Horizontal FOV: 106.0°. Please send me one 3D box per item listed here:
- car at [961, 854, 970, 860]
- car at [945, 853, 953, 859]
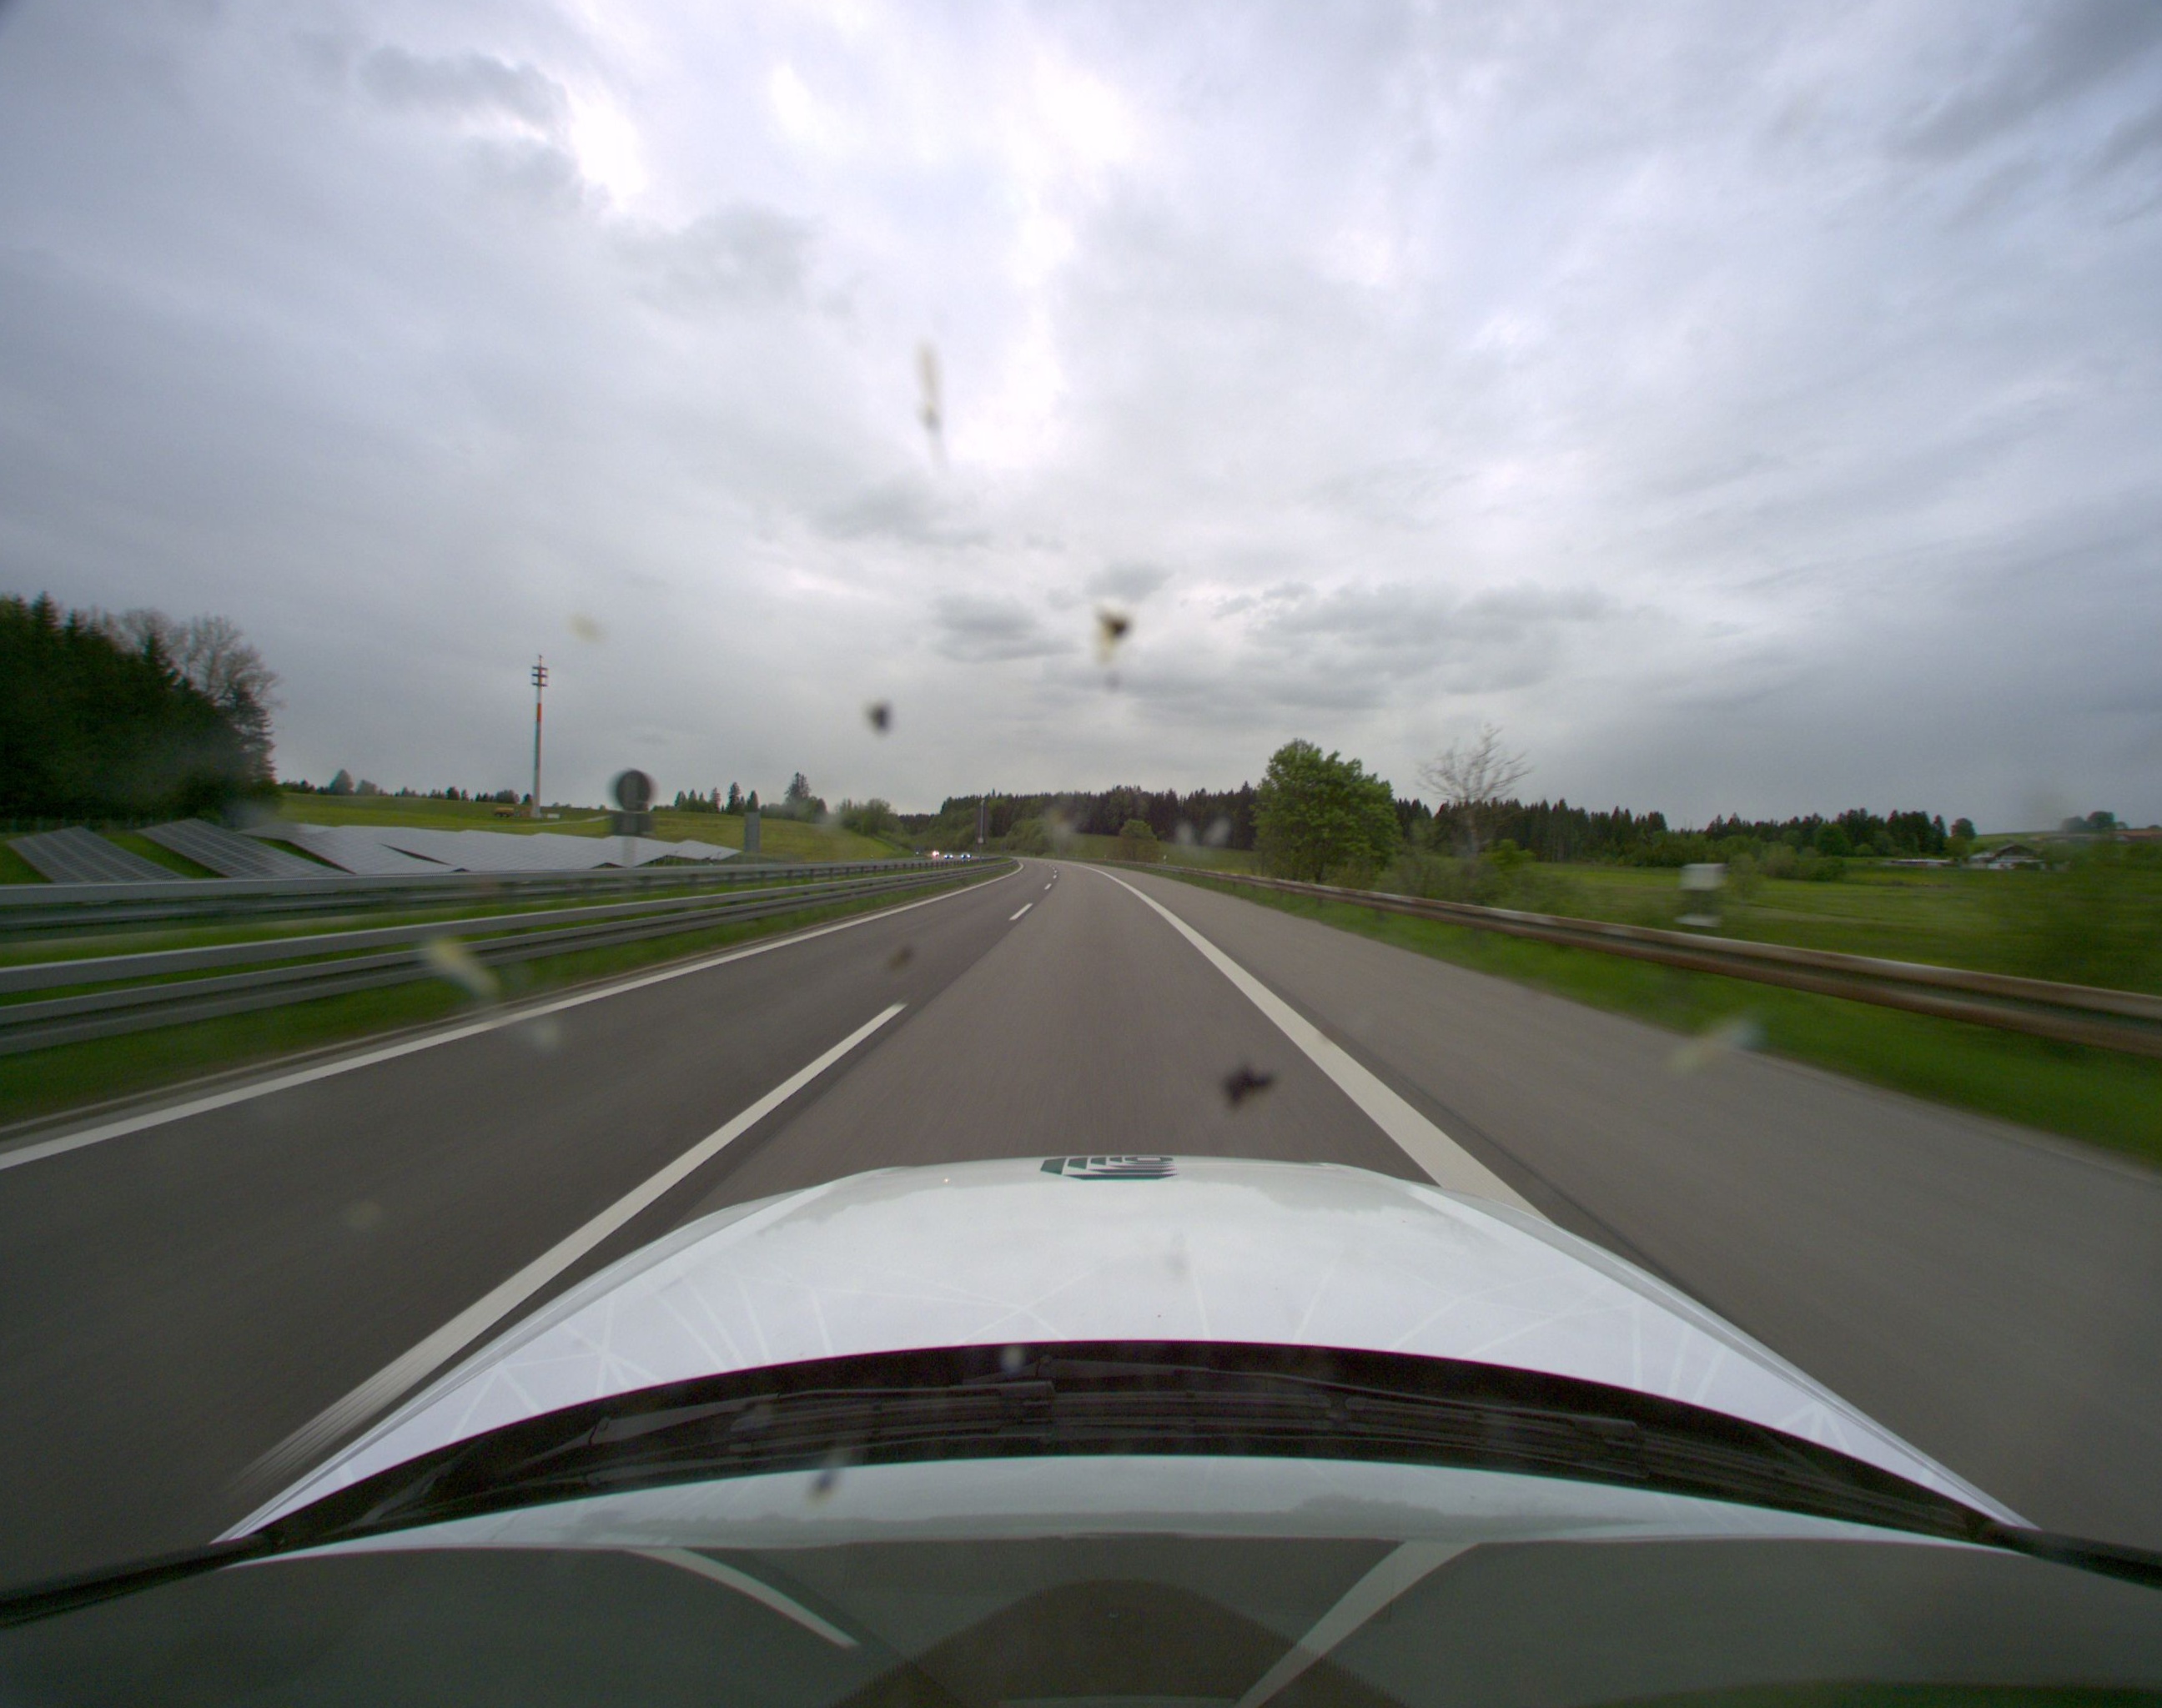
[{"bbox_3d":[-28.877,0.747,203.789,1.993,1.417,3.988,2,0,-9],"label":"car"},{"bbox_3d":[-32.300,0.519,199.275,1.993,1.440,4.985,2,0,-8],"label":"car"}]
